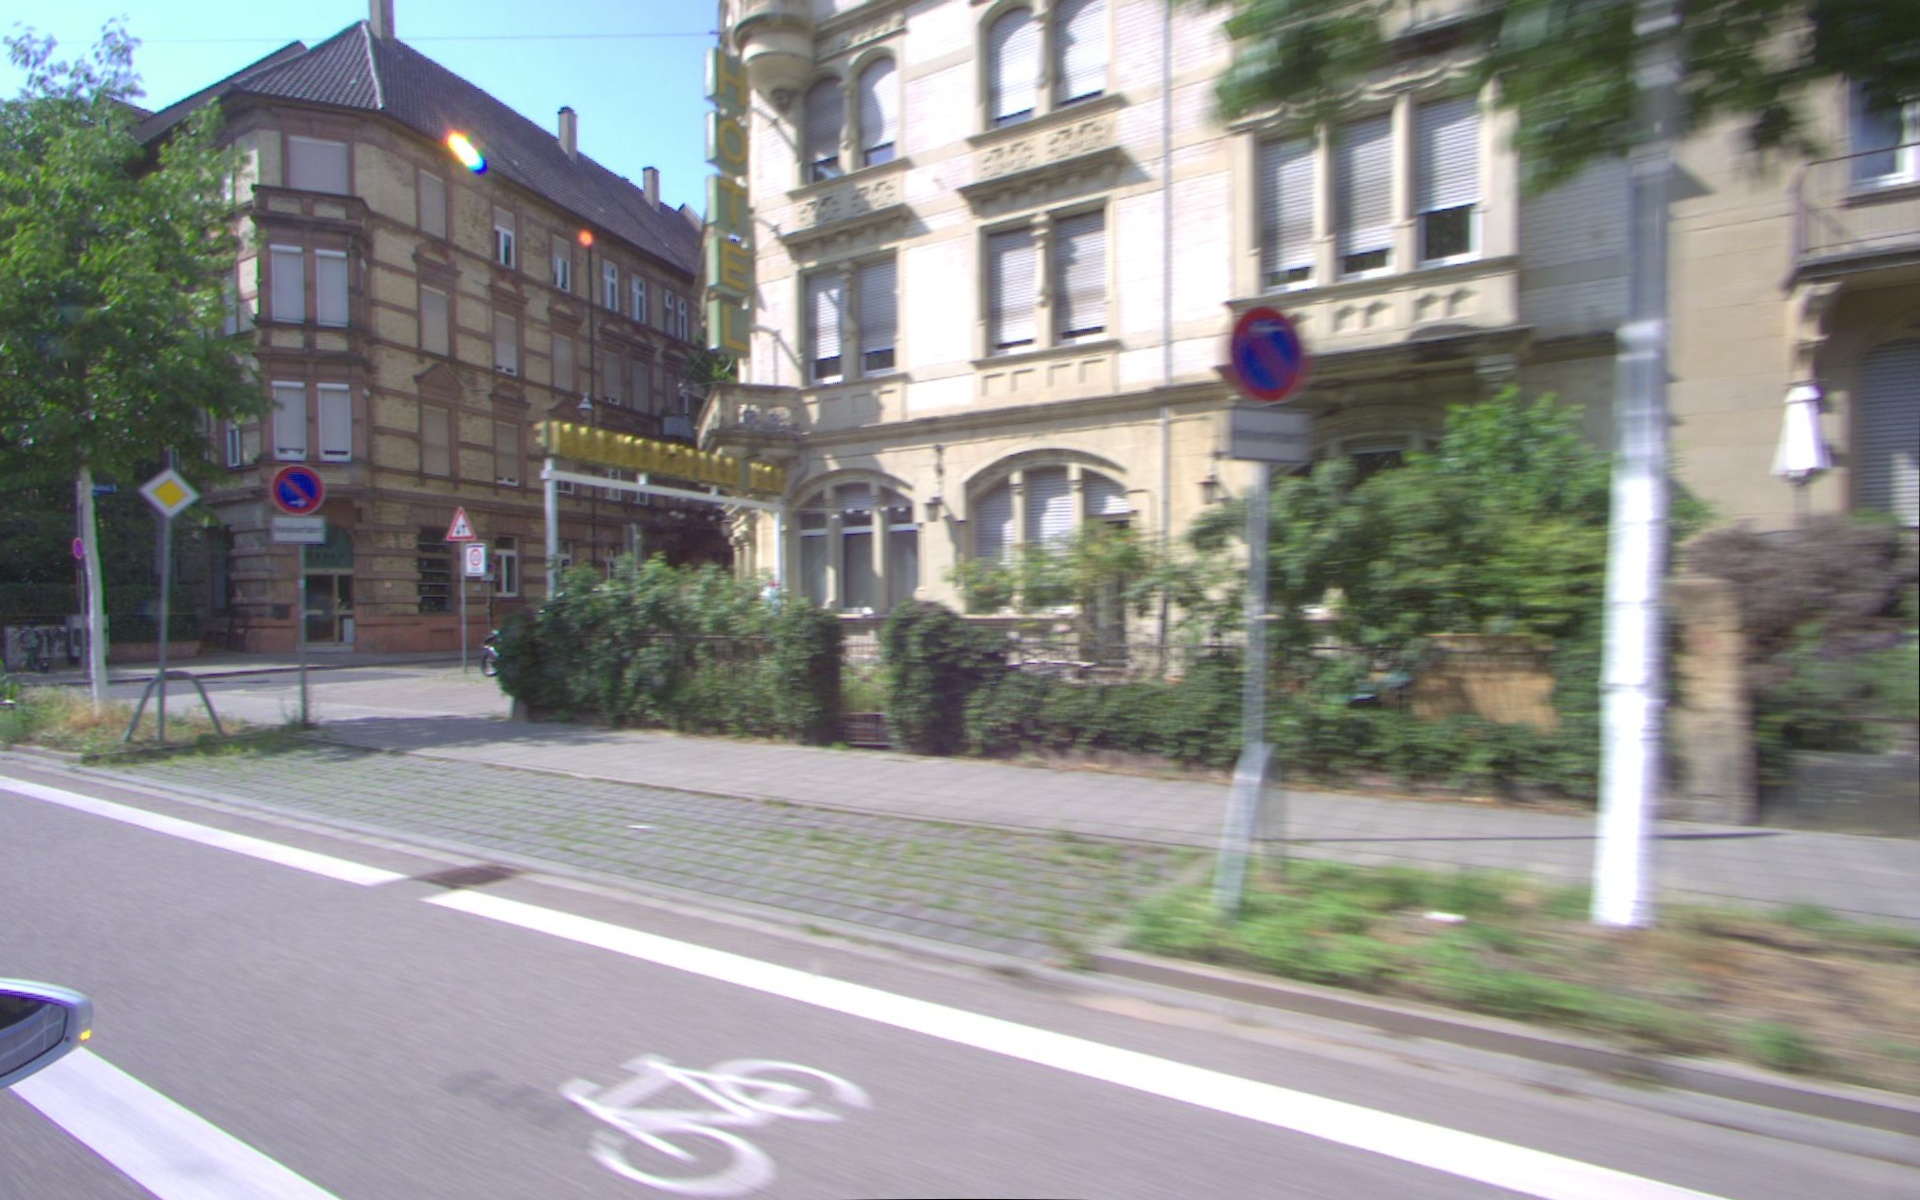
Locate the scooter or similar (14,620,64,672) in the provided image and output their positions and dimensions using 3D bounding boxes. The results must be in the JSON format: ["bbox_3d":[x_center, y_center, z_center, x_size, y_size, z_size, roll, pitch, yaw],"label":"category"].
[{"bbox_3d":[-21.822,1.074,23.719,1.550,1.174,0.460,0,1,33],"label":"scooter or similar"}]

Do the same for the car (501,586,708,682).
[{"bbox_3d":[-8.496,0.830,23.960,4.409,2.132,1.995,-2,0,21],"label":"car"}]

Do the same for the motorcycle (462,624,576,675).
[{"bbox_3d":[-9.315,1.029,21.153,2.252,1.015,0.633,-1,3,15],"label":"motorcycle"}]
